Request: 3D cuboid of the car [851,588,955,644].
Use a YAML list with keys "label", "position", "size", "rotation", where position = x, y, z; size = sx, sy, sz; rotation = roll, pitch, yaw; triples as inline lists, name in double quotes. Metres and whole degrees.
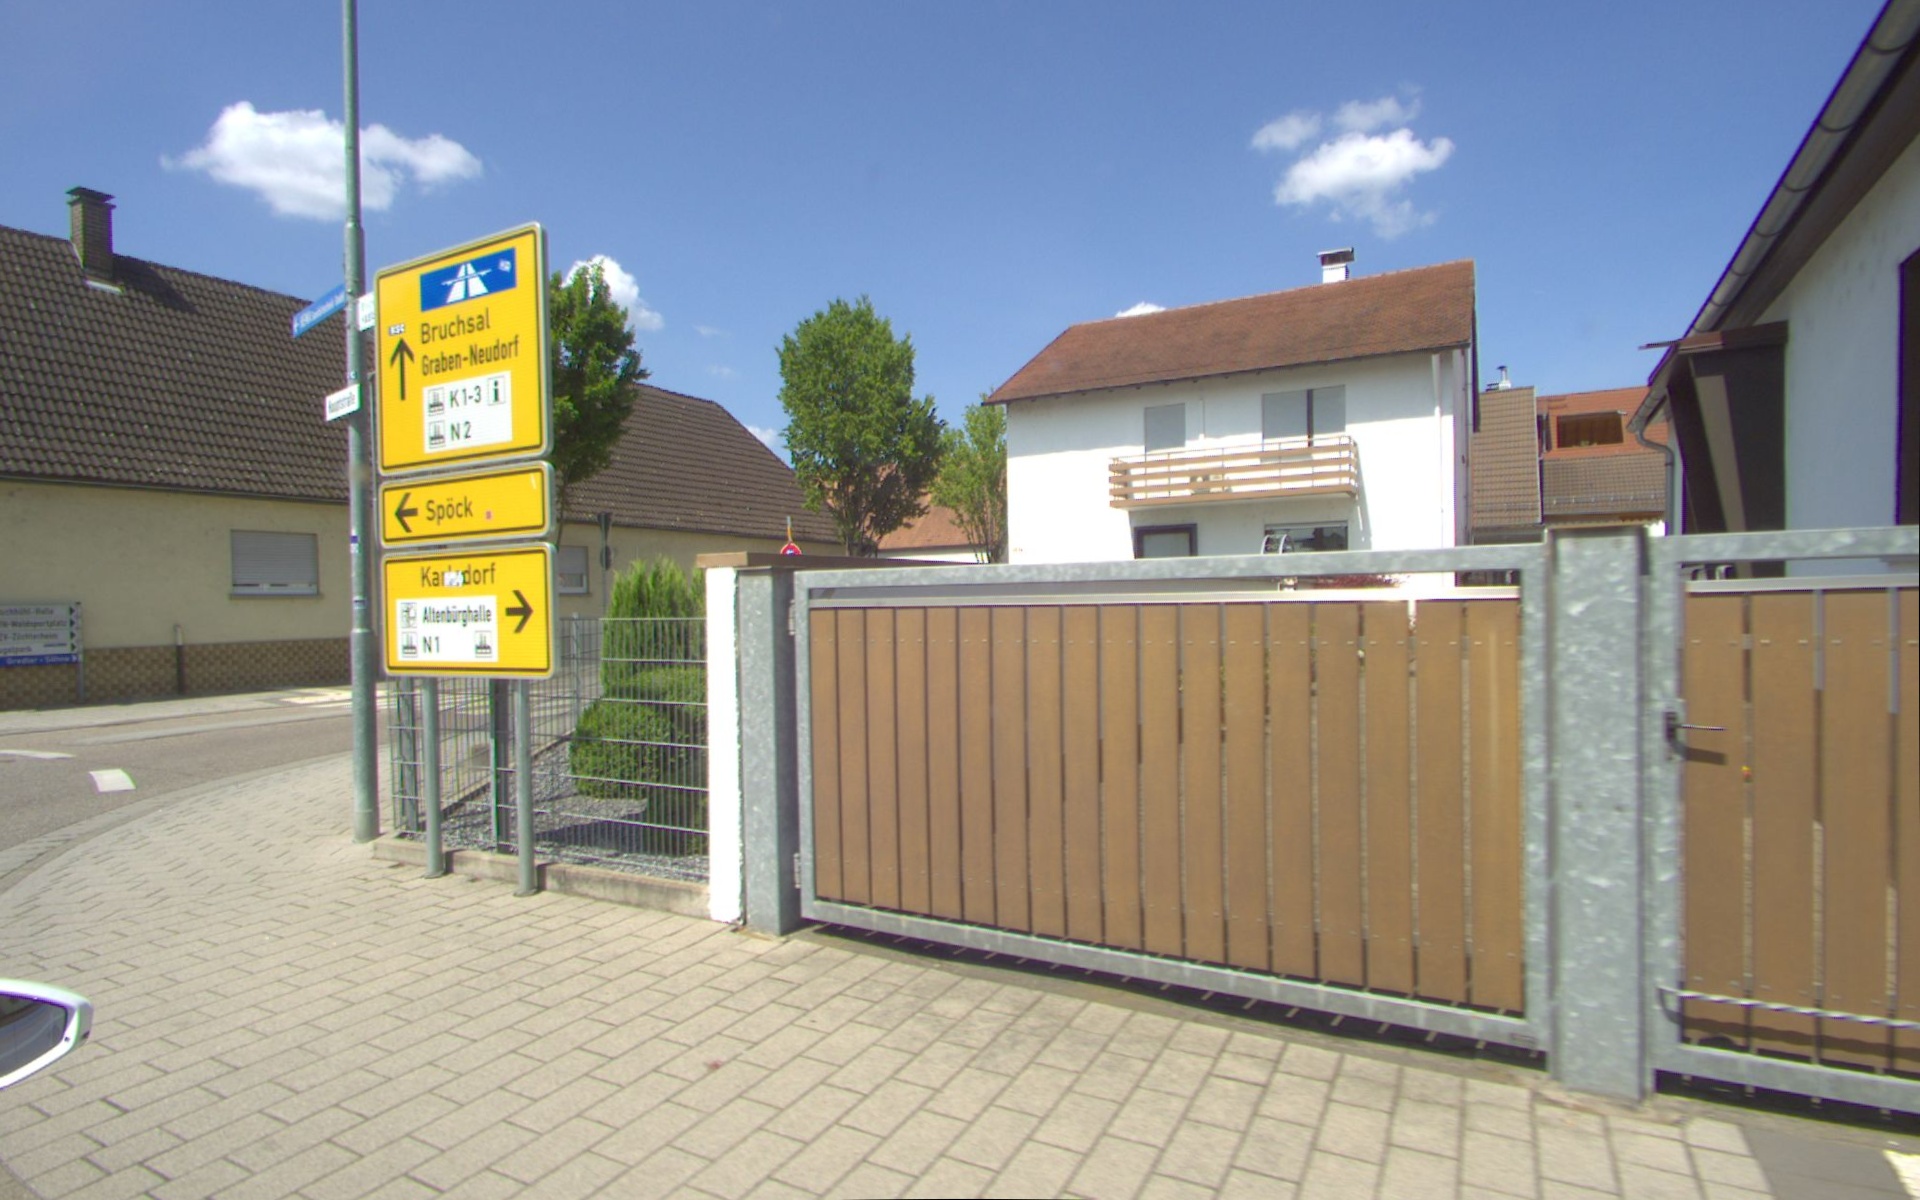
- label: "car"
  position: [-2.056, 0.547, 37.551]
  size: [1.968, 1.964, 4.461]
  rotation: [0, 1, 27]
